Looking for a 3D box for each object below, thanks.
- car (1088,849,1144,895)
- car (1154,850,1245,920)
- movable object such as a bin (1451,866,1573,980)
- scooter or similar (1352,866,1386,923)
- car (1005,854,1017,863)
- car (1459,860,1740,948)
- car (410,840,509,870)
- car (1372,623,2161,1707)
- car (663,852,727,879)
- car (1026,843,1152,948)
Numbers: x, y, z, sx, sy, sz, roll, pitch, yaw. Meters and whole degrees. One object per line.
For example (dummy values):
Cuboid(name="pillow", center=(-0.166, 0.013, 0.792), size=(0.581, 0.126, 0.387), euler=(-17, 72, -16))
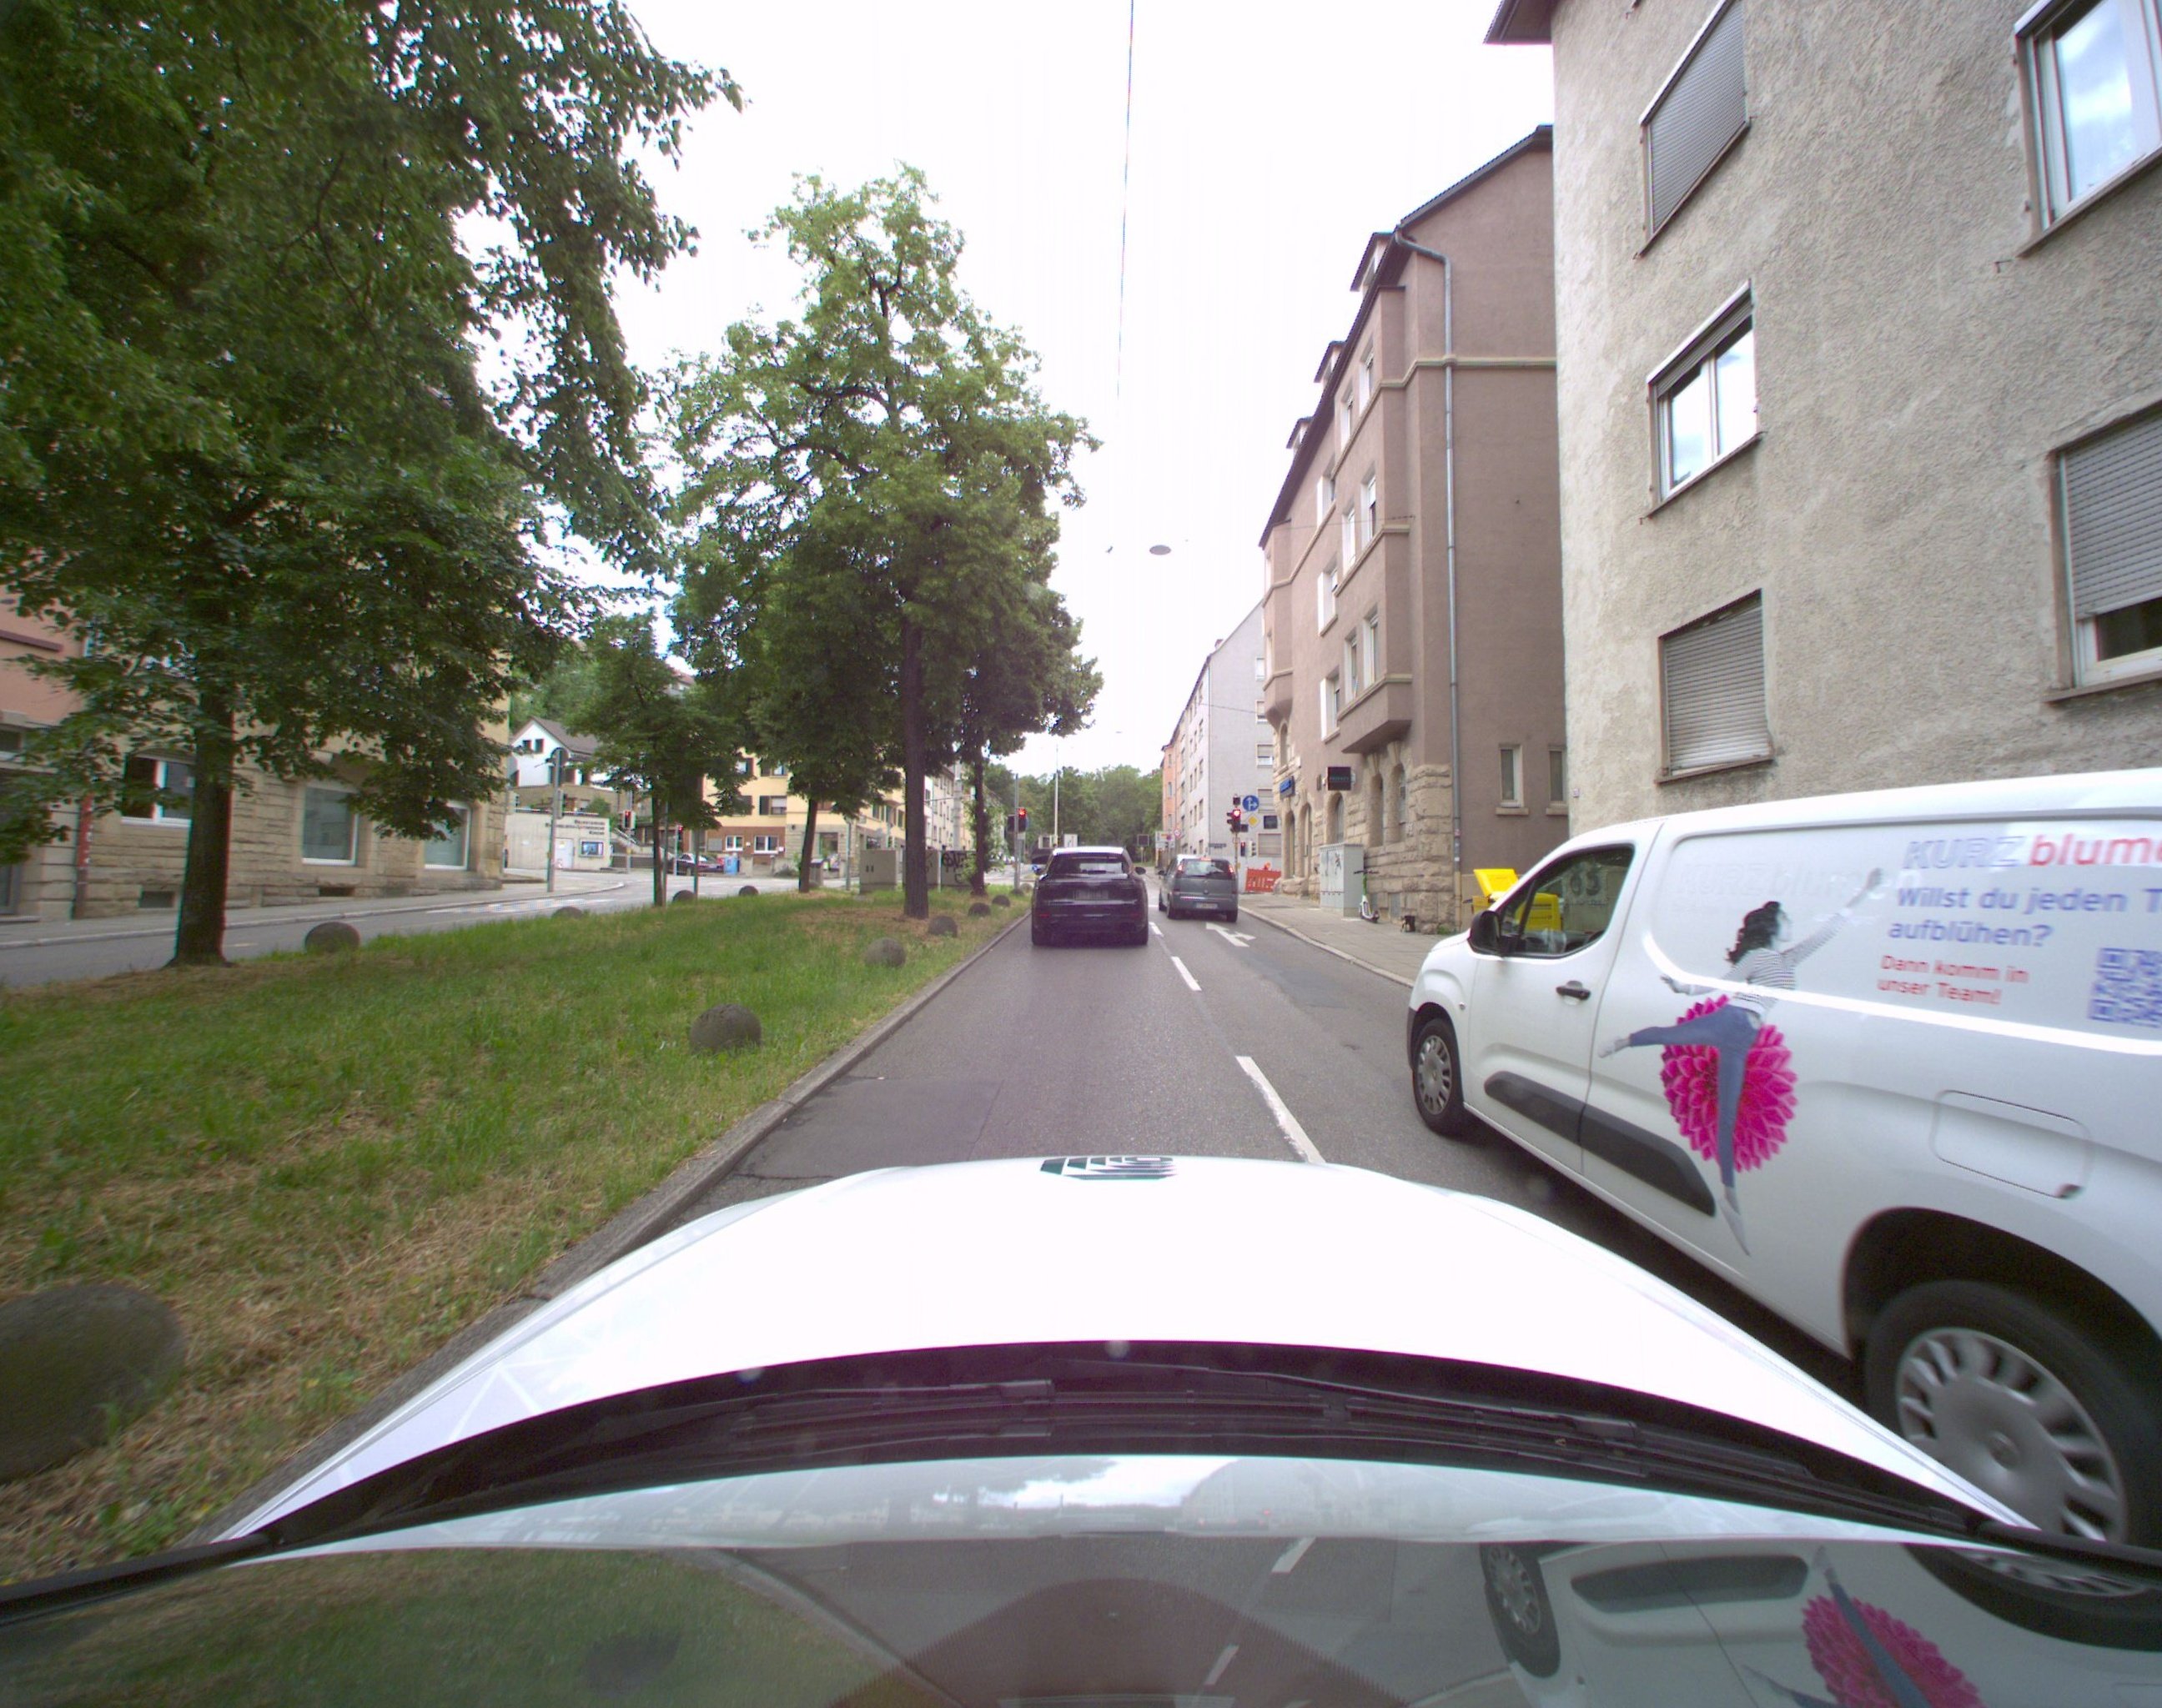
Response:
Cuboid(name="car", center=(1.344, 0.666, 31.046), size=(1.986, 1.653, 4.002), euler=(-1, -1, 2))
Cuboid(name="car", center=(2.956, 0.727, 20.987), size=(1.747, 1.593, 3.629), euler=(2, 0, 0))
Cuboid(name="movable object such as a bin", center=(5.785, 0.879, 11.051), size=(0.717, 1.421, 1.693), euler=(-1, -1, 0))
Cuboid(name="scooter or similar", center=(6.501, 0.899, 18.430), size=(0.399, 1.188, 1.356), euler=(-1, 1, 6))
Cuboid(name="car", center=(-11.888, 0.825, 138.567), size=(1.788, 1.510, 4.000), euler=(0, 0, 0))
Cuboid(name="car", center=(9.339, 0.870, 14.925), size=(3.972, 1.403, 1.801), euler=(0, 2, 1))
Cuboid(name="car", center=(-32.853, 0.052, 43.133), size=(4.021, 1.510, 1.778), euler=(1, 0, -42))
Cuboid(name="car", center=(2.852, 0.627, 3.507), size=(1.840, 1.825, 5.027), euler=(1, -2, 6))
Cuboid(name="car", center=(-24.357, 0.762, 51.351), size=(3.948, 1.665, 1.894), euler=(-1, -2, 35))
Cuboid(name="car", center=(0.213, 0.645, 14.913), size=(1.986, 1.653, 4.003), euler=(-1, 0, 2))
